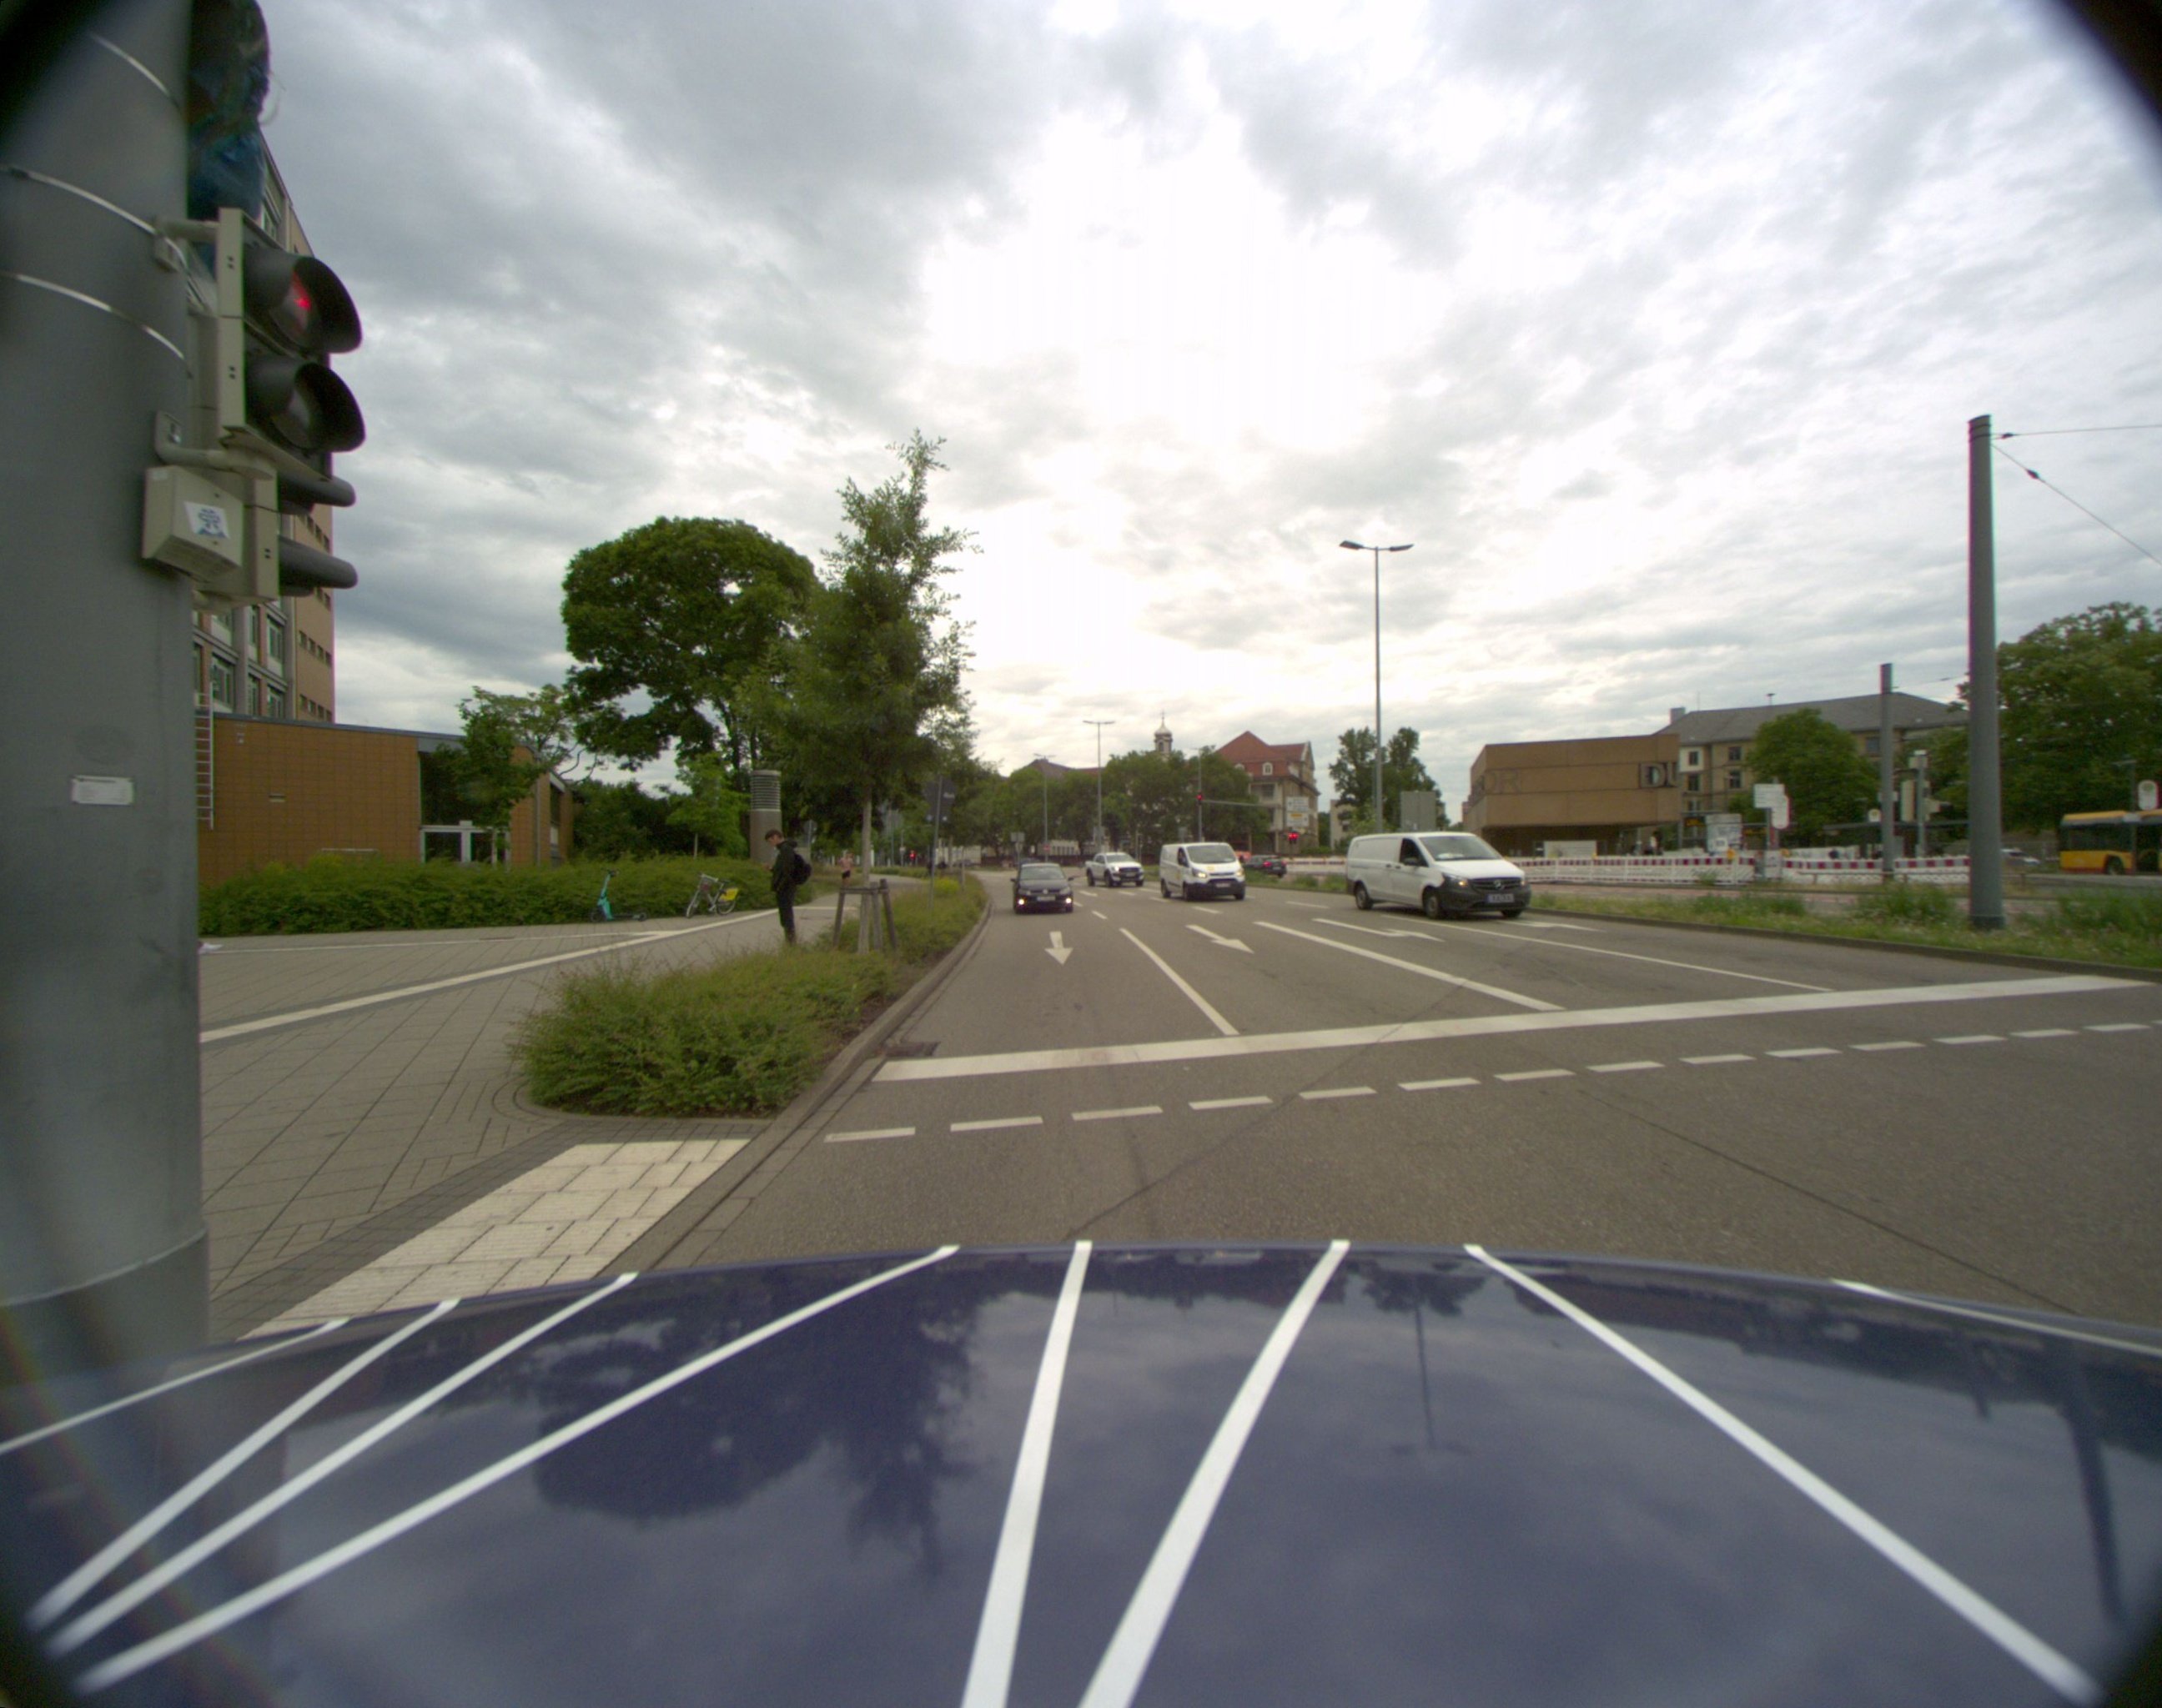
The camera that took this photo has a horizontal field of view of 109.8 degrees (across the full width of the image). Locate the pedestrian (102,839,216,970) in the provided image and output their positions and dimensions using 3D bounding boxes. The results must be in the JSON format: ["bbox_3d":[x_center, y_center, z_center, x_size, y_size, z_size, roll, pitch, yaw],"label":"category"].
[{"bbox_3d":[-13.183,0.692,10.898,0.704,1.795,0.837,-1,0,-22],"label":"pedestrian"}]

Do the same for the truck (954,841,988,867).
[{"bbox_3d":[-17.841,0.031,123.001,2.918,4.001,7.145,-2,0,-29],"label":"truck"}]

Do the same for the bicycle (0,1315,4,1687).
[{"bbox_3d":[-2.880,1.260,0.927,1.826,0.835,0.767,1,0,-7],"label":"bicycle"}]

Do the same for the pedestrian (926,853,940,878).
[{"bbox_3d":[-11.071,0.865,56.736,0.596,1.790,0.723,2,0,40],"label":"pedestrian"}]

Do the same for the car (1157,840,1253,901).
[{"bbox_3d":[4.181,0.532,26.470,2.000,1.930,4.520,-1,0,-9],"label":"car"}]

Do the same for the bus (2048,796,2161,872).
[{"bbox_3d":[44.994,-0.870,30.389,2.857,3.059,12.040,-2,0,26],"label":"bus"}]

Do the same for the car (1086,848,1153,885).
[{"bbox_3d":[1.954,0.629,40.347,2.092,1.838,4.745,-1,0,-16],"label":"car"}]

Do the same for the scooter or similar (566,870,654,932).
[{"bbox_3d":[-10.668,1.034,17.228,1.607,1.282,0.693,-2,1,-35],"label":"scooter or similar"}]

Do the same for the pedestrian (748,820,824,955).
[{"bbox_3d":[-4.422,0.480,11.382,0.876,1.917,0.722,-1,1,-36],"label":"pedestrian"}]

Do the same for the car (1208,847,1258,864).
[{"bbox_3d":[16.482,0.179,82.358,5.251,1.707,1.909,-1,0,-28],"label":"car"}]

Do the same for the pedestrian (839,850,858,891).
[{"bbox_3d":[-10.205,0.724,33.365,0.631,1.790,0.597,2,0,-7],"label":"pedestrian"}]

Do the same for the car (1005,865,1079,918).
[{"bbox_3d":[-1.264,1.064,23.065,1.657,1.404,3.996,-1,0,-11],"label":"car"}]

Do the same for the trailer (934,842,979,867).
[{"bbox_3d":[-21.485,0.139,129.948,2.952,3.990,13.780,-2,0,-29],"label":"trailer"}]

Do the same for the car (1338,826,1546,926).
[{"bbox_3d":[7.927,0.423,17.368,1.923,1.871,5.086,-2,0,-5],"label":"car"}]

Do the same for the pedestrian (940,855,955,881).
[{"bbox_3d":[-9.302,0.972,52.968,0.596,1.790,0.723,2,0,40],"label":"pedestrian"}]

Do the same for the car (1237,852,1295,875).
[{"bbox_3d":[11.910,0.576,49.236,2.001,1.390,3.995,-1,0,-14],"label":"car"}]

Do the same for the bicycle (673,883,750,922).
[{"bbox_3d":[-9.165,1.179,18.933,0.557,0.843,2.075,-1,0,12],"label":"bicycle"}]

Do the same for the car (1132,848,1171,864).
[{"bbox_3d":[8.062,0.257,86.858,3.999,1.718,1.999,-2,0,-7],"label":"car"}]
